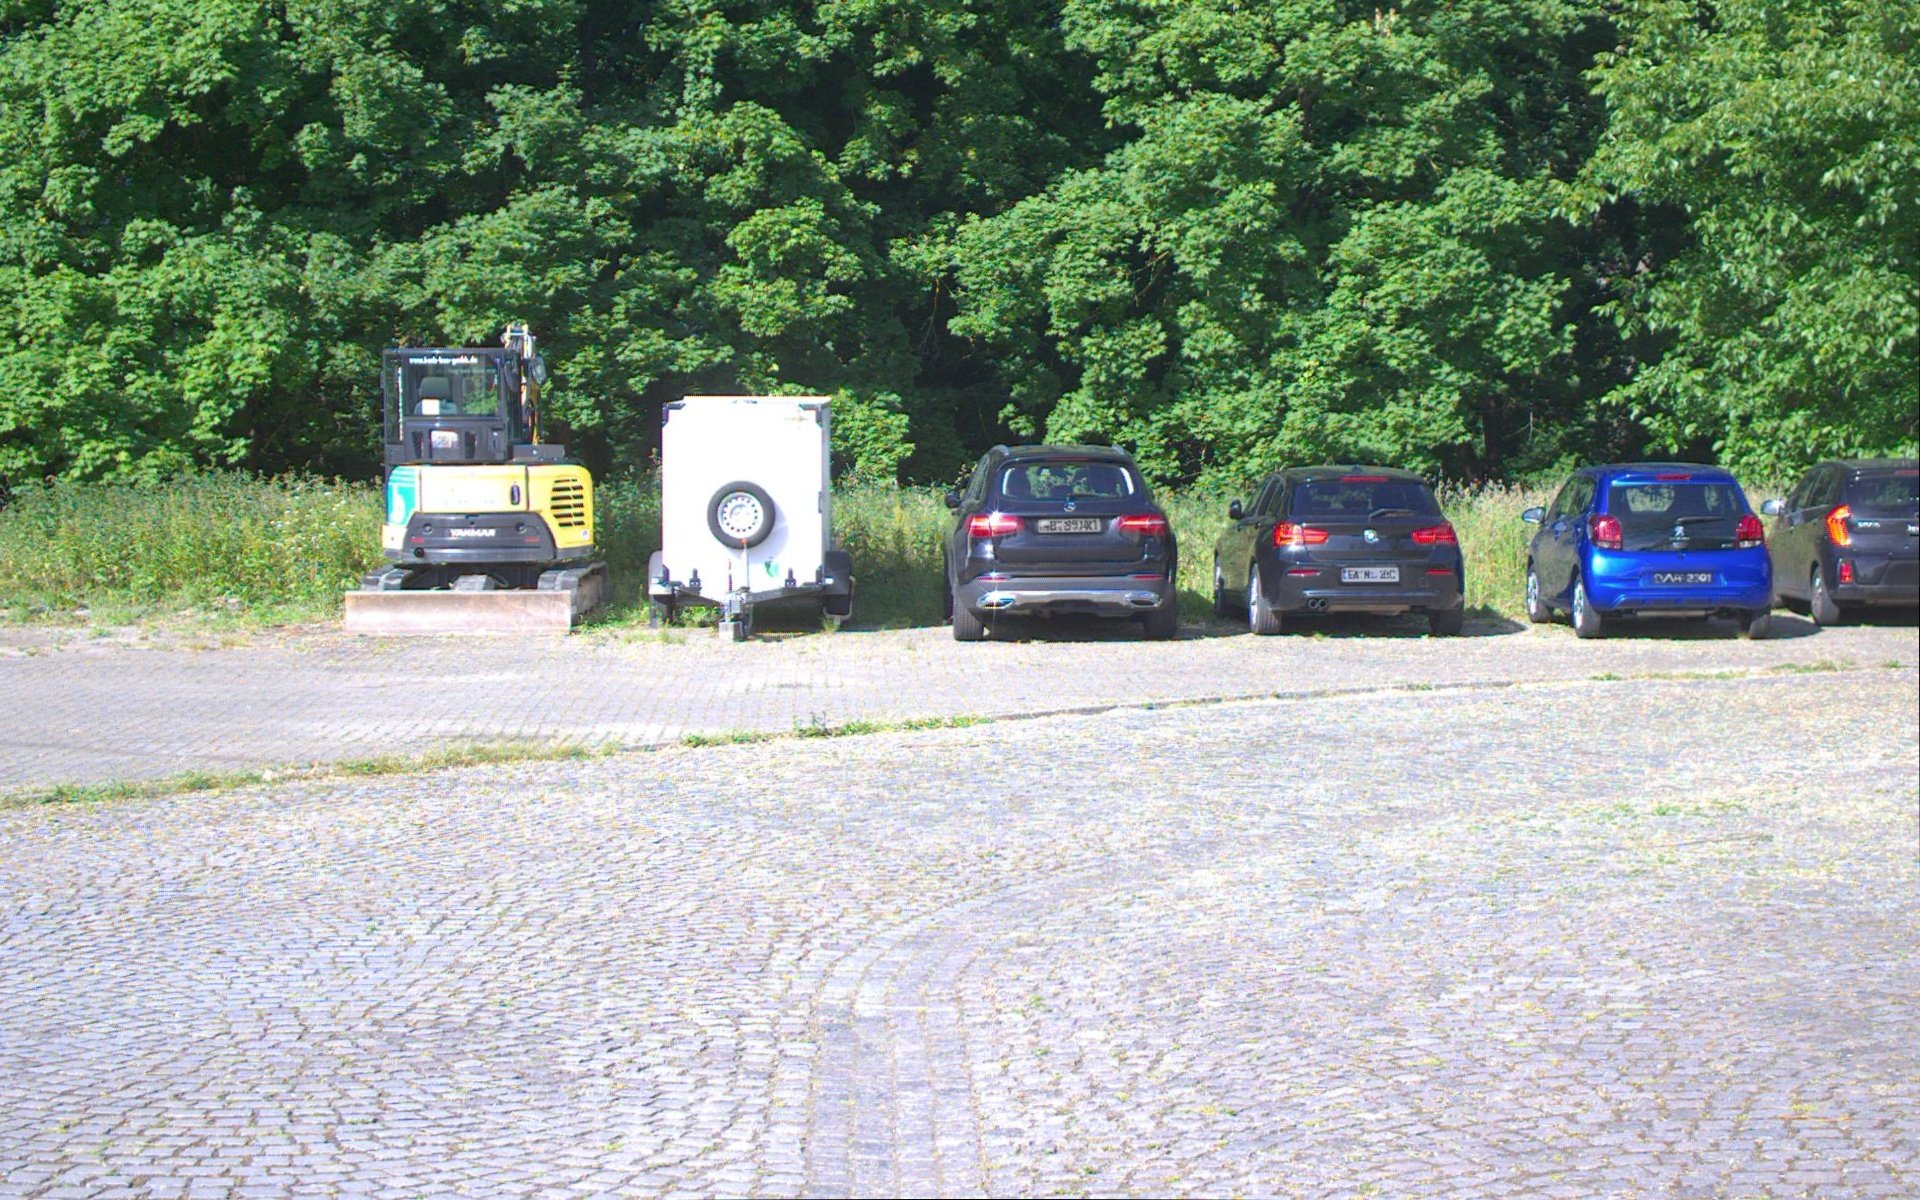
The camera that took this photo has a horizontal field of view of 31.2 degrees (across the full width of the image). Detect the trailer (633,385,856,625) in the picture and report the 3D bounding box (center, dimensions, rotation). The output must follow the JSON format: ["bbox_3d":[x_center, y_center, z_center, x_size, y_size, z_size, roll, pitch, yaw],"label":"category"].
[{"bbox_3d":[-1.892,-0.890,30.948,1.818,2.043,2.851,0,3,0],"label":"trailer"}]

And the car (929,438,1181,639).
[{"bbox_3d":[0.747,-0.588,29.766,1.964,1.584,4.132,0,3,-1],"label":"car"}]

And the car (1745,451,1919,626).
[{"bbox_3d":[8.353,-0.609,31.381,1.739,1.446,3.725,1,3,4],"label":"car"}]

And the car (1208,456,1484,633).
[{"bbox_3d":[3.308,-0.534,30.132,1.889,1.406,3.791,0,3,-1],"label":"car"}]

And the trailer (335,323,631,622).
[{"bbox_3d":[-4.249,-1.208,31.082,2.258,2.529,2.851,0,5,0],"label":"trailer"}]

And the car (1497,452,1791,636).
[{"bbox_3d":[5.936,-0.543,30.250,1.780,1.453,3.791,0,3,0],"label":"car"}]
